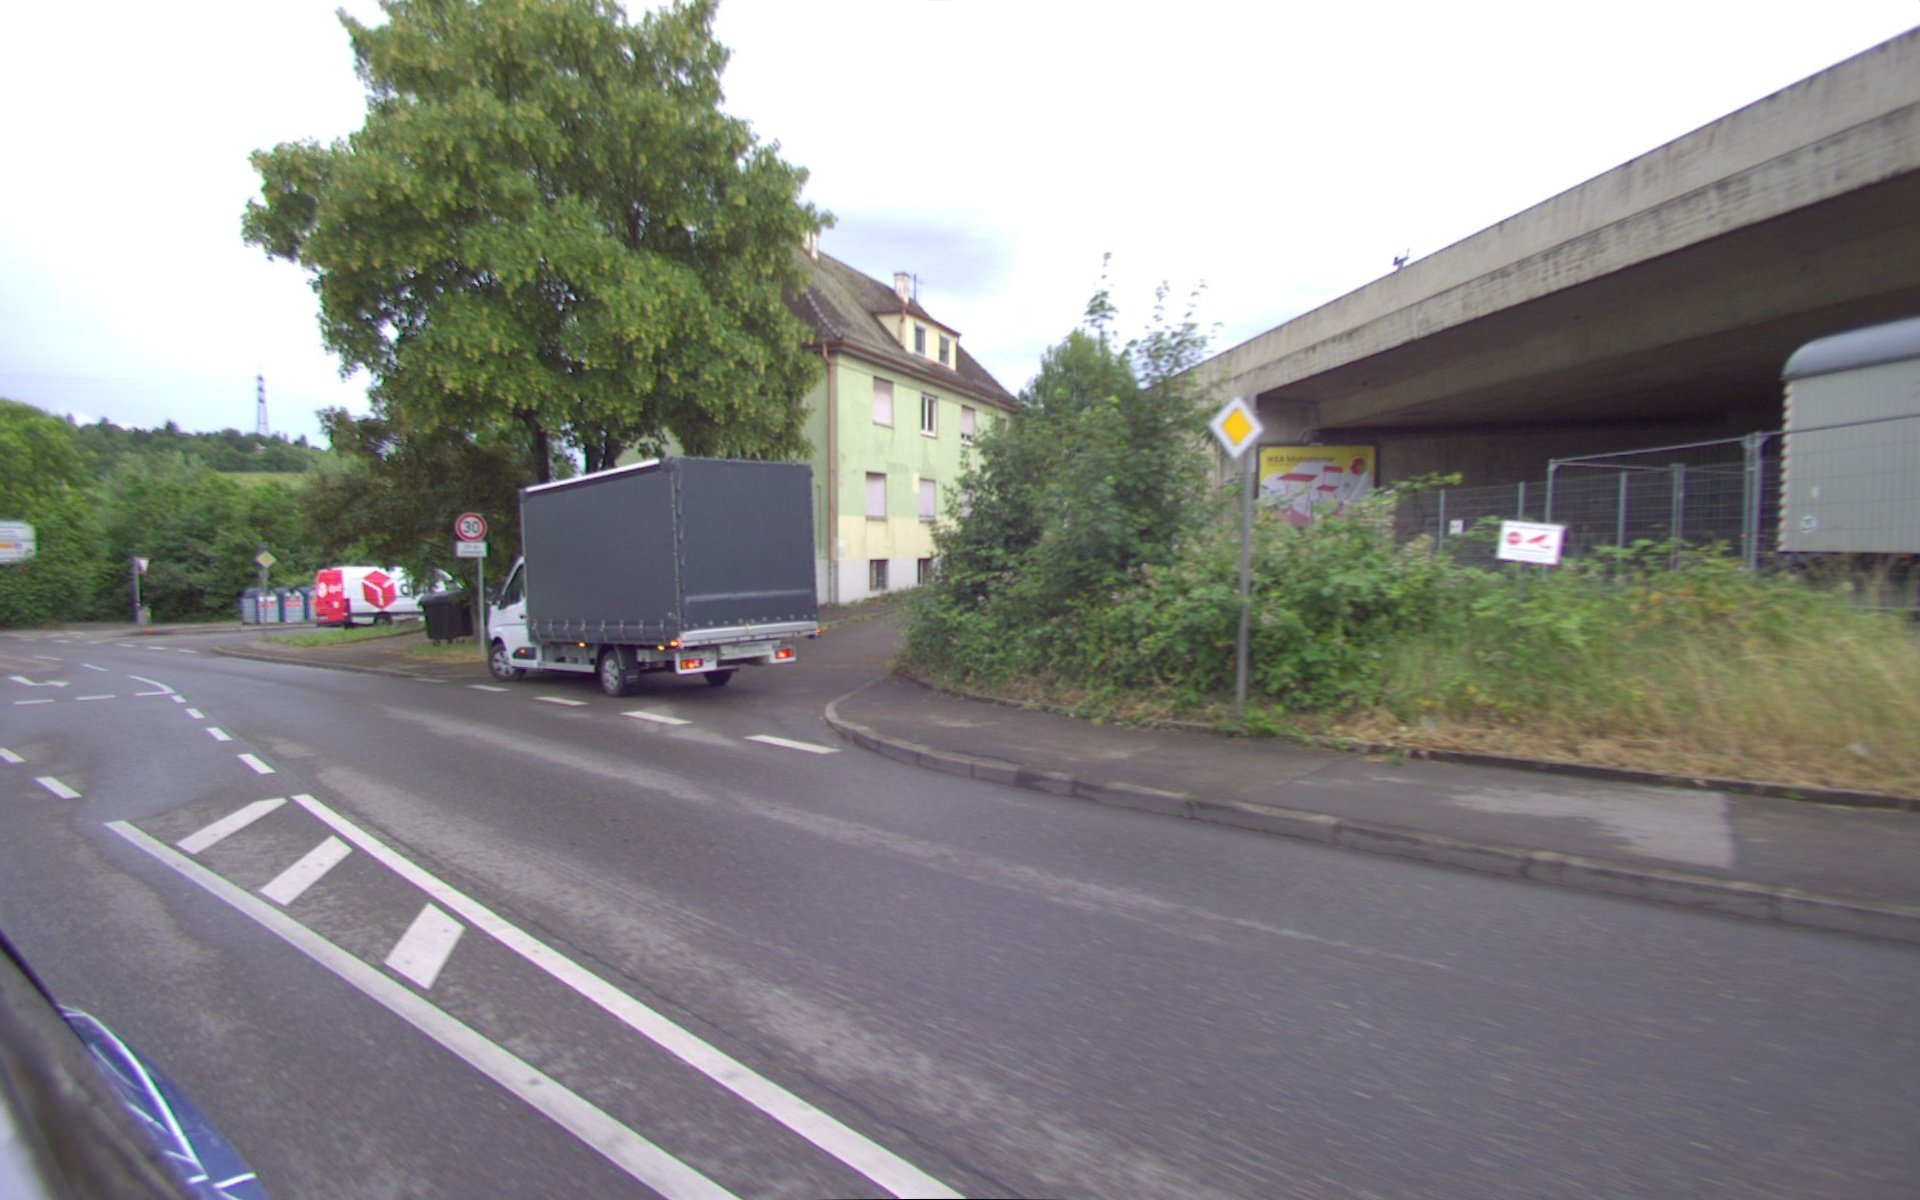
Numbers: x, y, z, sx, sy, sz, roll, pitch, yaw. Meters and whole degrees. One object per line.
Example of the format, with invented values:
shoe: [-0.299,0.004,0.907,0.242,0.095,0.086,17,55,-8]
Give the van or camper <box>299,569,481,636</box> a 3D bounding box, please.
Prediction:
van or camper: [-23.666,0.019,42.443,2.209,2.541,6.646,-1,1,23]

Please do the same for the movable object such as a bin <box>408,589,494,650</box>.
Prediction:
movable object such as a bin: [-13.458,0.495,26.815,1.360,1.451,1.470,-5,1,5]

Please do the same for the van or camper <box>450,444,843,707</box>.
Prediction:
van or camper: [-5.472,-0.333,16.612,7.764,3.359,2.668,-1,2,44]

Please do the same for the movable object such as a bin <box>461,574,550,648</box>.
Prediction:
movable object such as a bin: [-11.961,0.272,26.703,1.435,1.774,1.576,-5,1,5]
